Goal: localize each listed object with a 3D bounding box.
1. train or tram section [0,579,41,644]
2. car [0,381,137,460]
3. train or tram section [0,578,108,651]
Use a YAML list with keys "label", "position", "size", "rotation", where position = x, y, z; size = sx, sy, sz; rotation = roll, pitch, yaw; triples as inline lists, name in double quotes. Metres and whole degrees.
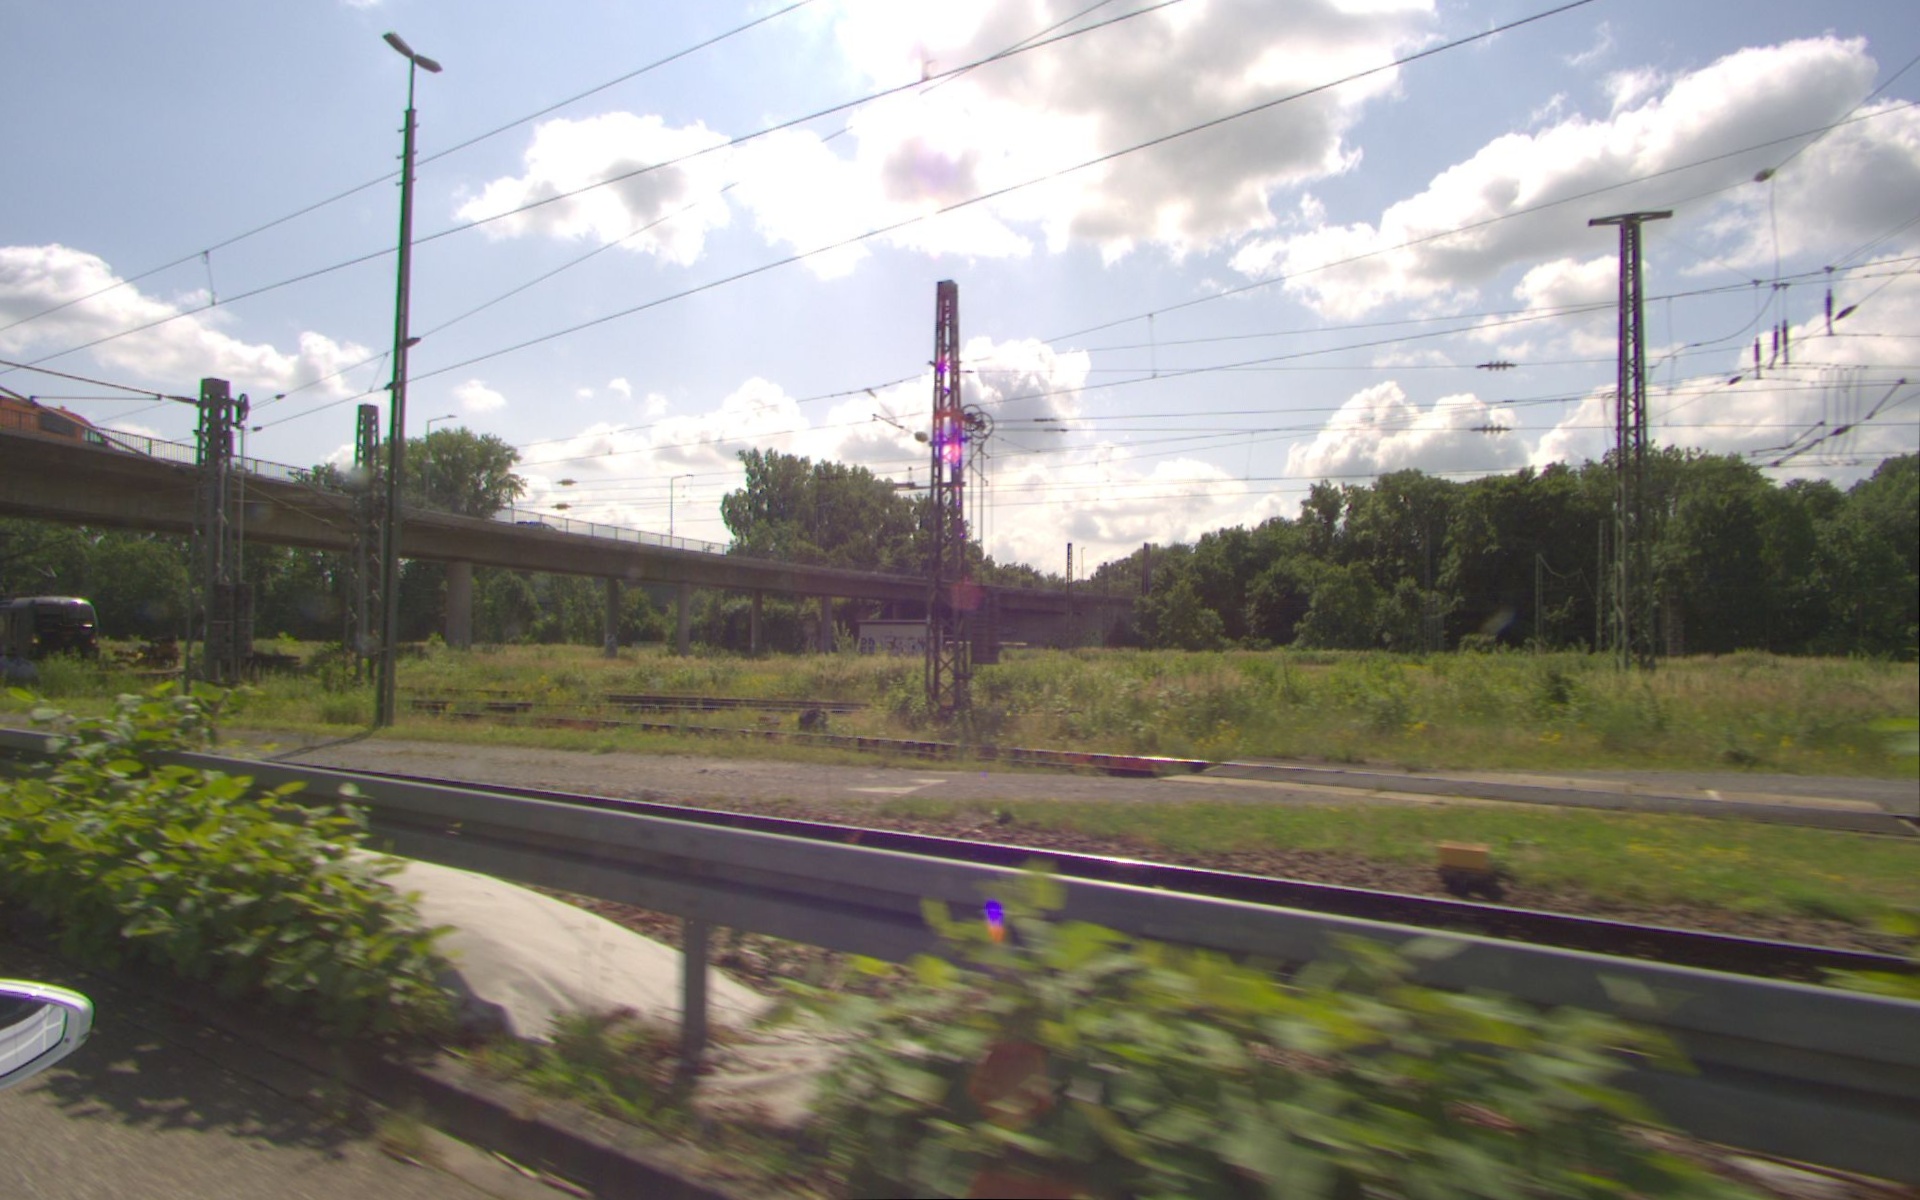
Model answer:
- label: "train or tram section"
  position: [-55.613, 0.717, 56.881]
  size: [8.117, 3.521, 2.753]
  rotation: [-1, -2, 30]
- label: "car"
  position: [-36.303, -7.069, 40.087]
  size: [1.961, 2.040, 5.337]
  rotation: [-2, -1, 4]
- label: "train or tram section"
  position: [-48.446, 0.847, 52.634]
  size: [8.438, 3.553, 2.888]
  rotation: [-1, -2, 30]
